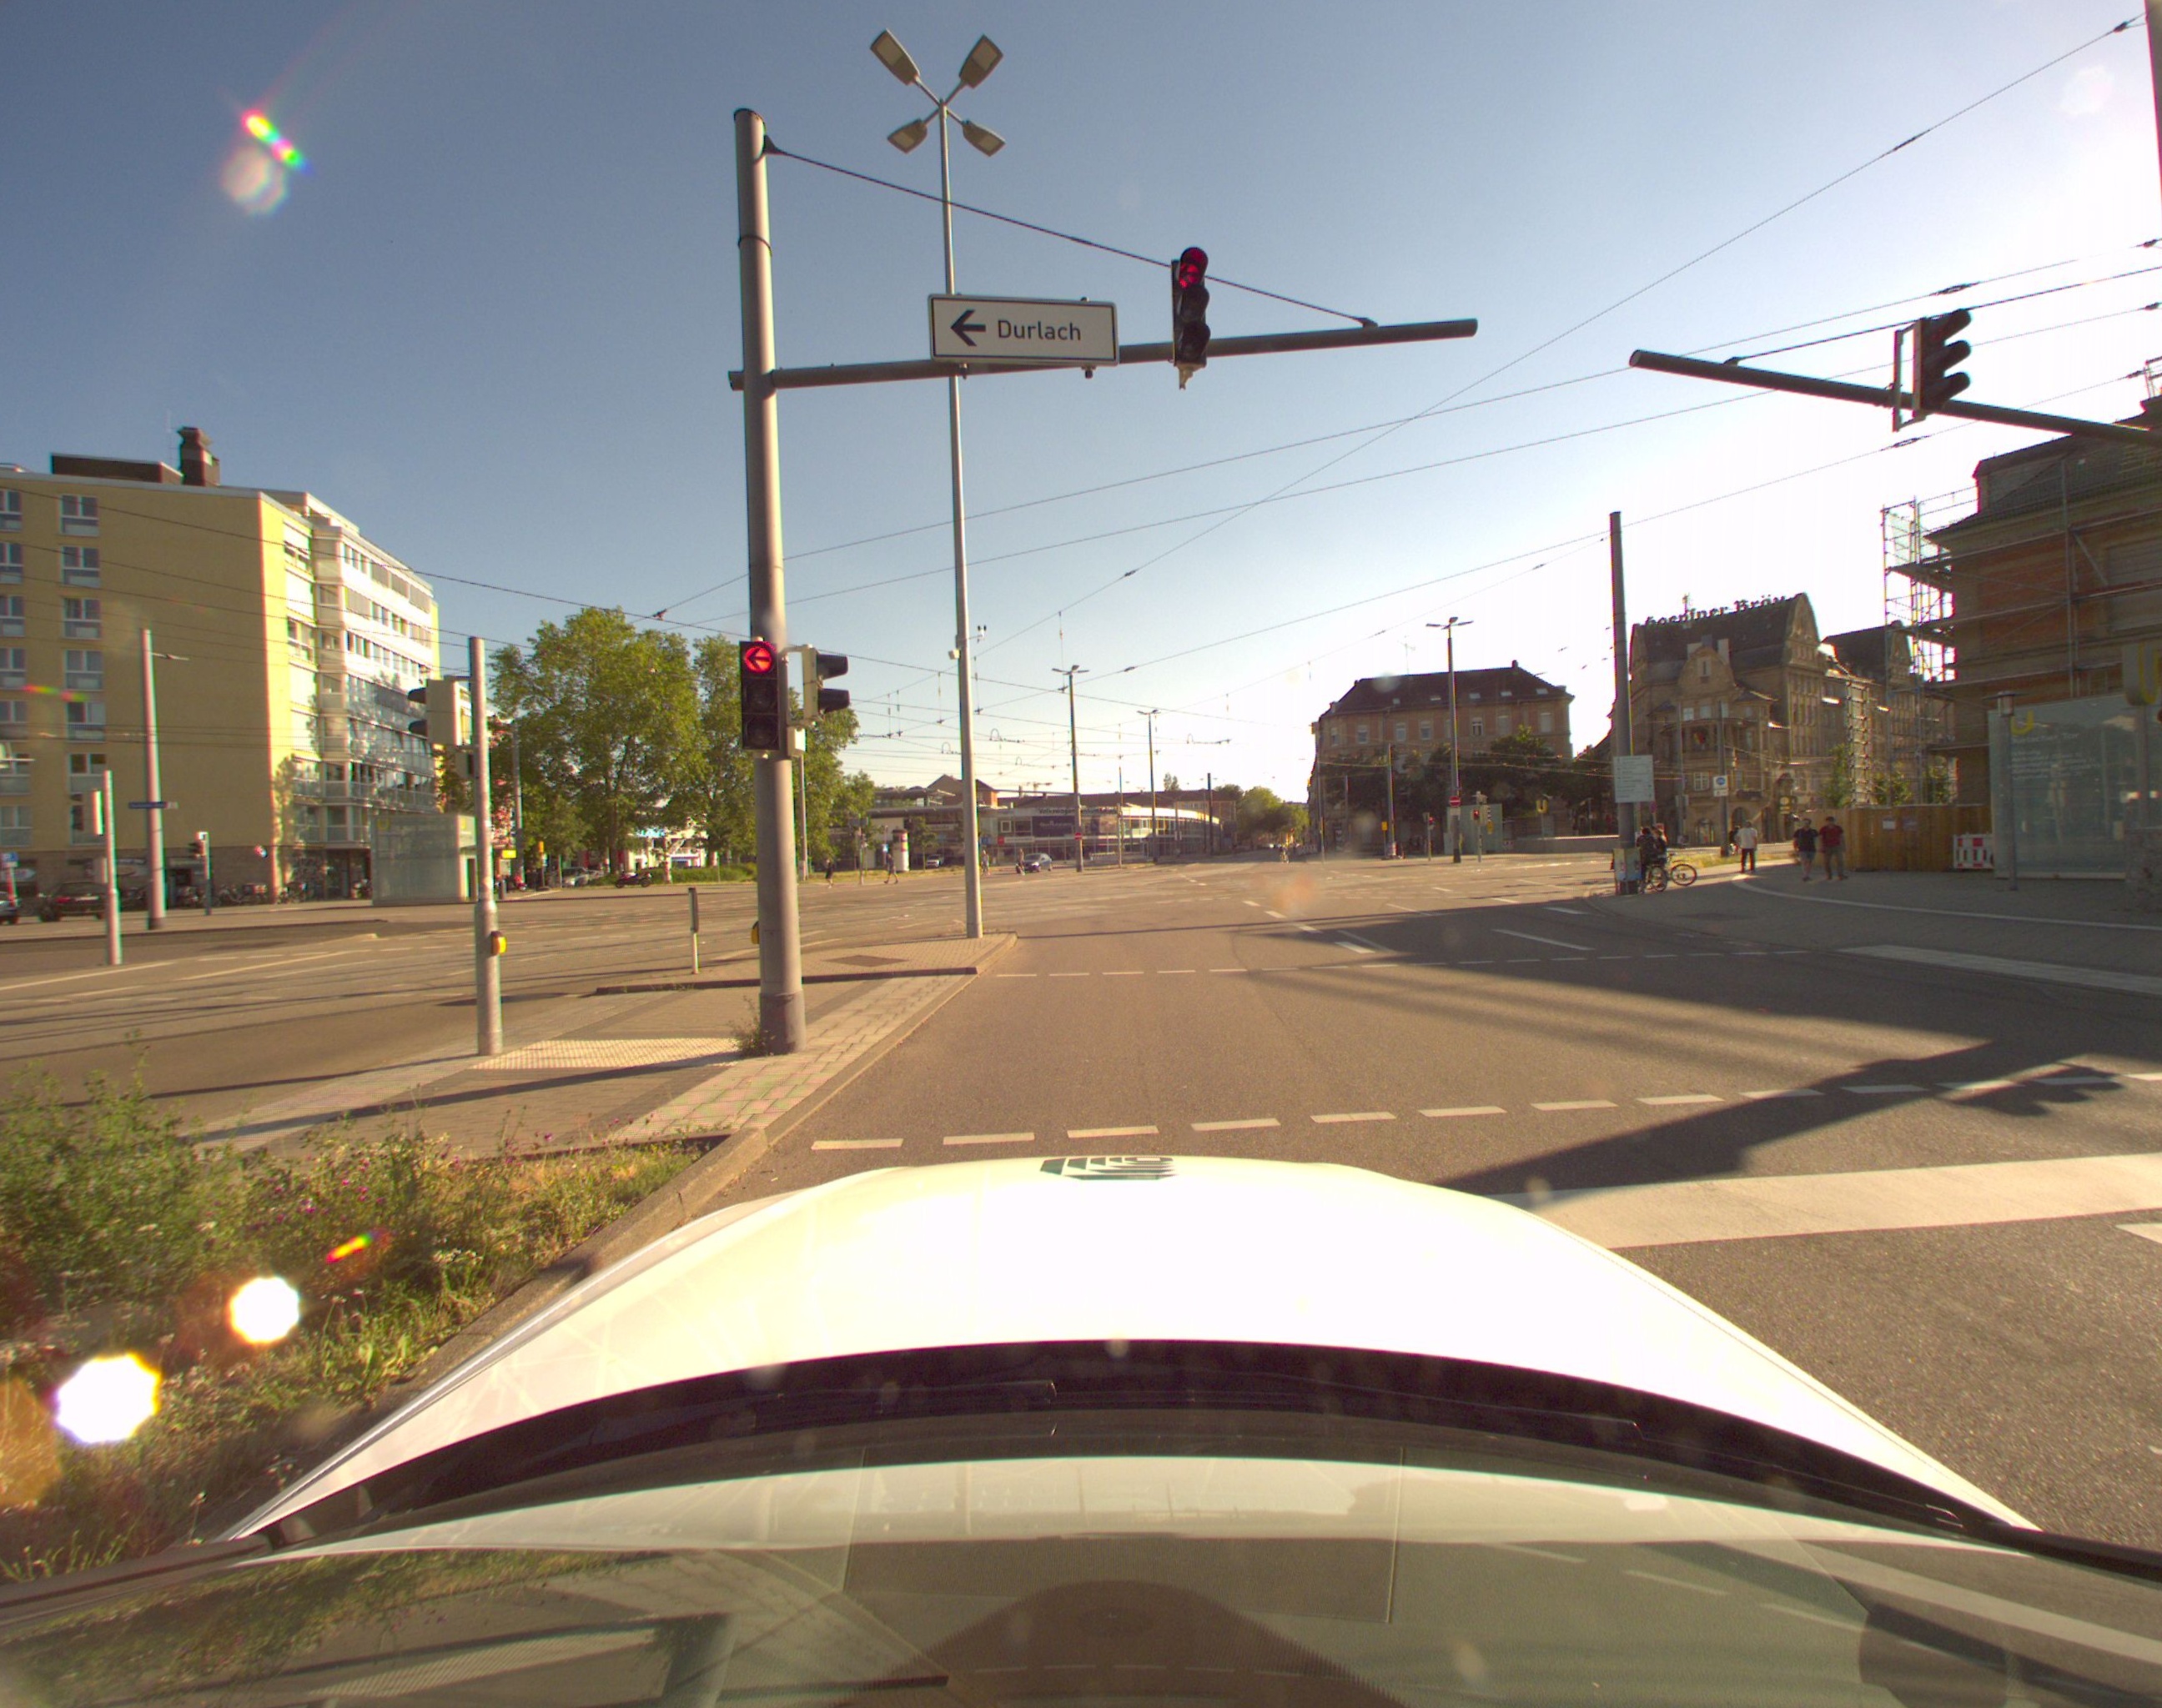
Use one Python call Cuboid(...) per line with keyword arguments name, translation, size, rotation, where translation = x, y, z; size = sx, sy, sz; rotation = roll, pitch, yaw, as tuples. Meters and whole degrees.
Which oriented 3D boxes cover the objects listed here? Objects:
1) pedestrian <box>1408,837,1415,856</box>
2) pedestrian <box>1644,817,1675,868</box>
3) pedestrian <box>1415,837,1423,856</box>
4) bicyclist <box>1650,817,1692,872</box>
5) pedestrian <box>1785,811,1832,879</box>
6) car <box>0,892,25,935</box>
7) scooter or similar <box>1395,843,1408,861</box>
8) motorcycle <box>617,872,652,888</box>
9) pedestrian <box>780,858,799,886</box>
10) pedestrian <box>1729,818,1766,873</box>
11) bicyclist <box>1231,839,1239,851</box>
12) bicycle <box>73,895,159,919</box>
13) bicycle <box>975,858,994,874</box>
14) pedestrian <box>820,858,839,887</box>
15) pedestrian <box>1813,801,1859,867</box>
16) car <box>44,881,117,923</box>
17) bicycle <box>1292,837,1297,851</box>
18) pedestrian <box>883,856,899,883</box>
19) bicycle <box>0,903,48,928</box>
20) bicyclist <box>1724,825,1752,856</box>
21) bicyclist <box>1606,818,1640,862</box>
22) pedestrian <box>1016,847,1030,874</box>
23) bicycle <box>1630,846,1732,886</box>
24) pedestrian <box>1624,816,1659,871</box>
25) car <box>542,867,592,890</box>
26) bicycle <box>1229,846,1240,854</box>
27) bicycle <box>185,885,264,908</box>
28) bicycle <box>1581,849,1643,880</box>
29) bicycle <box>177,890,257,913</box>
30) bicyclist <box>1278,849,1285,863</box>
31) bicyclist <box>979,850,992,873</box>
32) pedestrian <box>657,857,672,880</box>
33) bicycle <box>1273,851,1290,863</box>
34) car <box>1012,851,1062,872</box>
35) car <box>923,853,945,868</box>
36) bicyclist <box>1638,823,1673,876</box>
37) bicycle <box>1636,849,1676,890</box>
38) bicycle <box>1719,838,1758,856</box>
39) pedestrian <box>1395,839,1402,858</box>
Cuboid(name="pedestrian", translation=(34.962, -0.790, 86.108), size=(0.598, 2.013, 0.649), rotation=(-2, 0, 16))
Cuboid(name="pedestrian", translation=(21.868, -0.431, 30.786), size=(0.646, 1.922, 0.689), rotation=(0, -1, -6))
Cuboid(name="pedestrian", translation=(35.475, -0.815, 85.463), size=(0.598, 2.013, 0.649), rotation=(-2, 0, 16))
Cuboid(name="bicyclist", translation=(17.182, -0.272, 23.735), size=(0.935, 1.557, 0.715), rotation=(-1, -1, 32))
Cuboid(name="pedestrian", translation=(20.188, -0.247, 22.604), size=(0.672, 1.807, 0.680), rotation=(-3, 0, -19))
Cuboid(name="car", translation=(-47.011, 2.567, 34.839), size=(3.948, 1.706, 2.013), rotation=(-1, -1, 35))
Cuboid(name="scooter or similar", translation=(24.847, -0.177, 63.110), size=(0.780, 1.376, 1.916), rotation=(-1, -1, 16))
Cuboid(name="motorcycle", translation=(-27.267, 1.577, 49.752), size=(1.779, 0.914, 0.675), rotation=(0, -1, -19))
Cuboid(name="pedestrian", translation=(-17.633, 1.100, 49.300), size=(0.790, 1.706, 0.760), rotation=(-1, -1, 9))
Cuboid(name="pedestrian", translation=(22.369, -0.282, 27.323), size=(0.646, 1.814, 0.689), rotation=(0, -1, -6))
Cuboid(name="bicyclist", translation=(20.355, -1.174, 107.600), size=(0.776, 1.577, 0.755), rotation=(0, -1, -28))
Cuboid(name="bicycle", translation=(-50.306, 2.762, 42.466), size=(3.041, 1.151, 0.637), rotation=(0, -1, -16))
Cuboid(name="bicycle", translation=(-7.084, 0.894, 59.962), size=(0.607, 1.189, 1.878), rotation=(-1, -1, 19))
Cuboid(name="pedestrian", translation=(-14.791, 1.068, 47.930), size=(0.790, 1.706, 0.760), rotation=(-1, -1, 9))
Cuboid(name="pedestrian", translation=(20.886, -0.539, 22.528), size=(0.672, 1.807, 0.680), rotation=(0, -1, -19))
Cuboid(name="car", translation=(-44.244, 2.073, 36.003), size=(3.948, 1.706, 1.730), rotation=(-1, -1, 35))
Cuboid(name="bicycle", translation=(32.648, -1.547, 124.497), size=(0.613, 2.014, 2.410), rotation=(-1, -1, 16))
Cuboid(name="pedestrian", translation=(-12.099, 0.969, 51.911), size=(0.790, 1.706, 0.760), rotation=(-1, -1, 9))
Cuboid(name="bicycle", translation=(-54.410, 3.113, 41.078), size=(3.041, 1.151, 0.637), rotation=(0, -1, -16))
Cuboid(name="bicyclist", translation=(33.767, -0.673, 41.879), size=(1.046, 1.547, 0.842), rotation=(0, -1, -34))
Cuboid(name="bicyclist", translation=(19.191, -0.485, 28.840), size=(0.514, 1.557, 0.945), rotation=(0, -1, -6))
Cuboid(name="pedestrian", translation=(-3.976, 0.448, 55.856), size=(0.790, 1.886, 0.760), rotation=(-1, -1, 9))
Cuboid(name="bicycle", translation=(17.347, 0.361, 23.630), size=(2.290, 1.049, 0.705), rotation=(-3, -2, 32))
Cuboid(name="pedestrian", translation=(21.112, -0.387, 30.692), size=(0.730, 2.014, 0.760), rotation=(0, -1, -6))
Cuboid(name="car", translation=(-37.311, 1.720, 59.233), size=(1.772, 1.567, 3.983), rotation=(0, -1, -12))
Cuboid(name="bicycle", translation=(20.296, -0.546, 107.634), size=(0.661, 0.952, 1.585), rotation=(0, -1, -28))
Cuboid(name="bicycle", translation=(-46.485, 2.301, 44.235), size=(3.041, 1.151, 0.637), rotation=(0, -1, -16))
Cuboid(name="bicycle", translation=(19.137, 0.354, 29.401), size=(0.533, 1.049, 2.315), rotation=(0, 1, -6))
Cuboid(name="bicycle", translation=(-46.192, 2.534, 43.567), size=(3.041, 1.151, 0.637), rotation=(0, -1, -16))
Cuboid(name="bicyclist", translation=(16.112, 0.164, 65.397), size=(0.401, 1.116, 0.404), rotation=(0, -1, -45))
Cuboid(name="bicyclist", translation=(-7.050, 0.552, 60.058), size=(0.593, 1.615, 0.826), rotation=(-1, -1, 19))
Cuboid(name="pedestrian", translation=(-30.772, 1.060, 60.192), size=(0.854, 1.694, 0.497), rotation=(0, -1, -1))
Cuboid(name="bicycle", translation=(16.088, 0.252, 65.366), size=(0.406, 0.941, 1.856), rotation=(-1, -1, 44))
Cuboid(name="car", translation=(-3.288, 0.562, 61.944), size=(1.975, 1.585, 4.024), rotation=(-1, -1, 29))
Cuboid(name="car", translation=(-17.994, 0.838, 99.836), size=(1.988, 1.750, 3.997), rotation=(0, -1, -2))
Cuboid(name="bicyclist", translation=(15.850, -0.114, 22.495), size=(0.701, 1.439, 0.953), rotation=(-1, -1, 31))
Cuboid(name="bicycle", translation=(15.836, 0.404, 22.456), size=(0.692, 1.049, 2.335), rotation=(-2, 0, 31))
Cuboid(name="bicycle", translation=(33.888, -0.353, 41.959), size=(2.637, 0.914, 0.898), rotation=(0, -1, -35))
Cuboid(name="pedestrian", translation=(33.529, -0.606, 86.032), size=(0.598, 2.013, 0.649), rotation=(-2, 0, 16))
